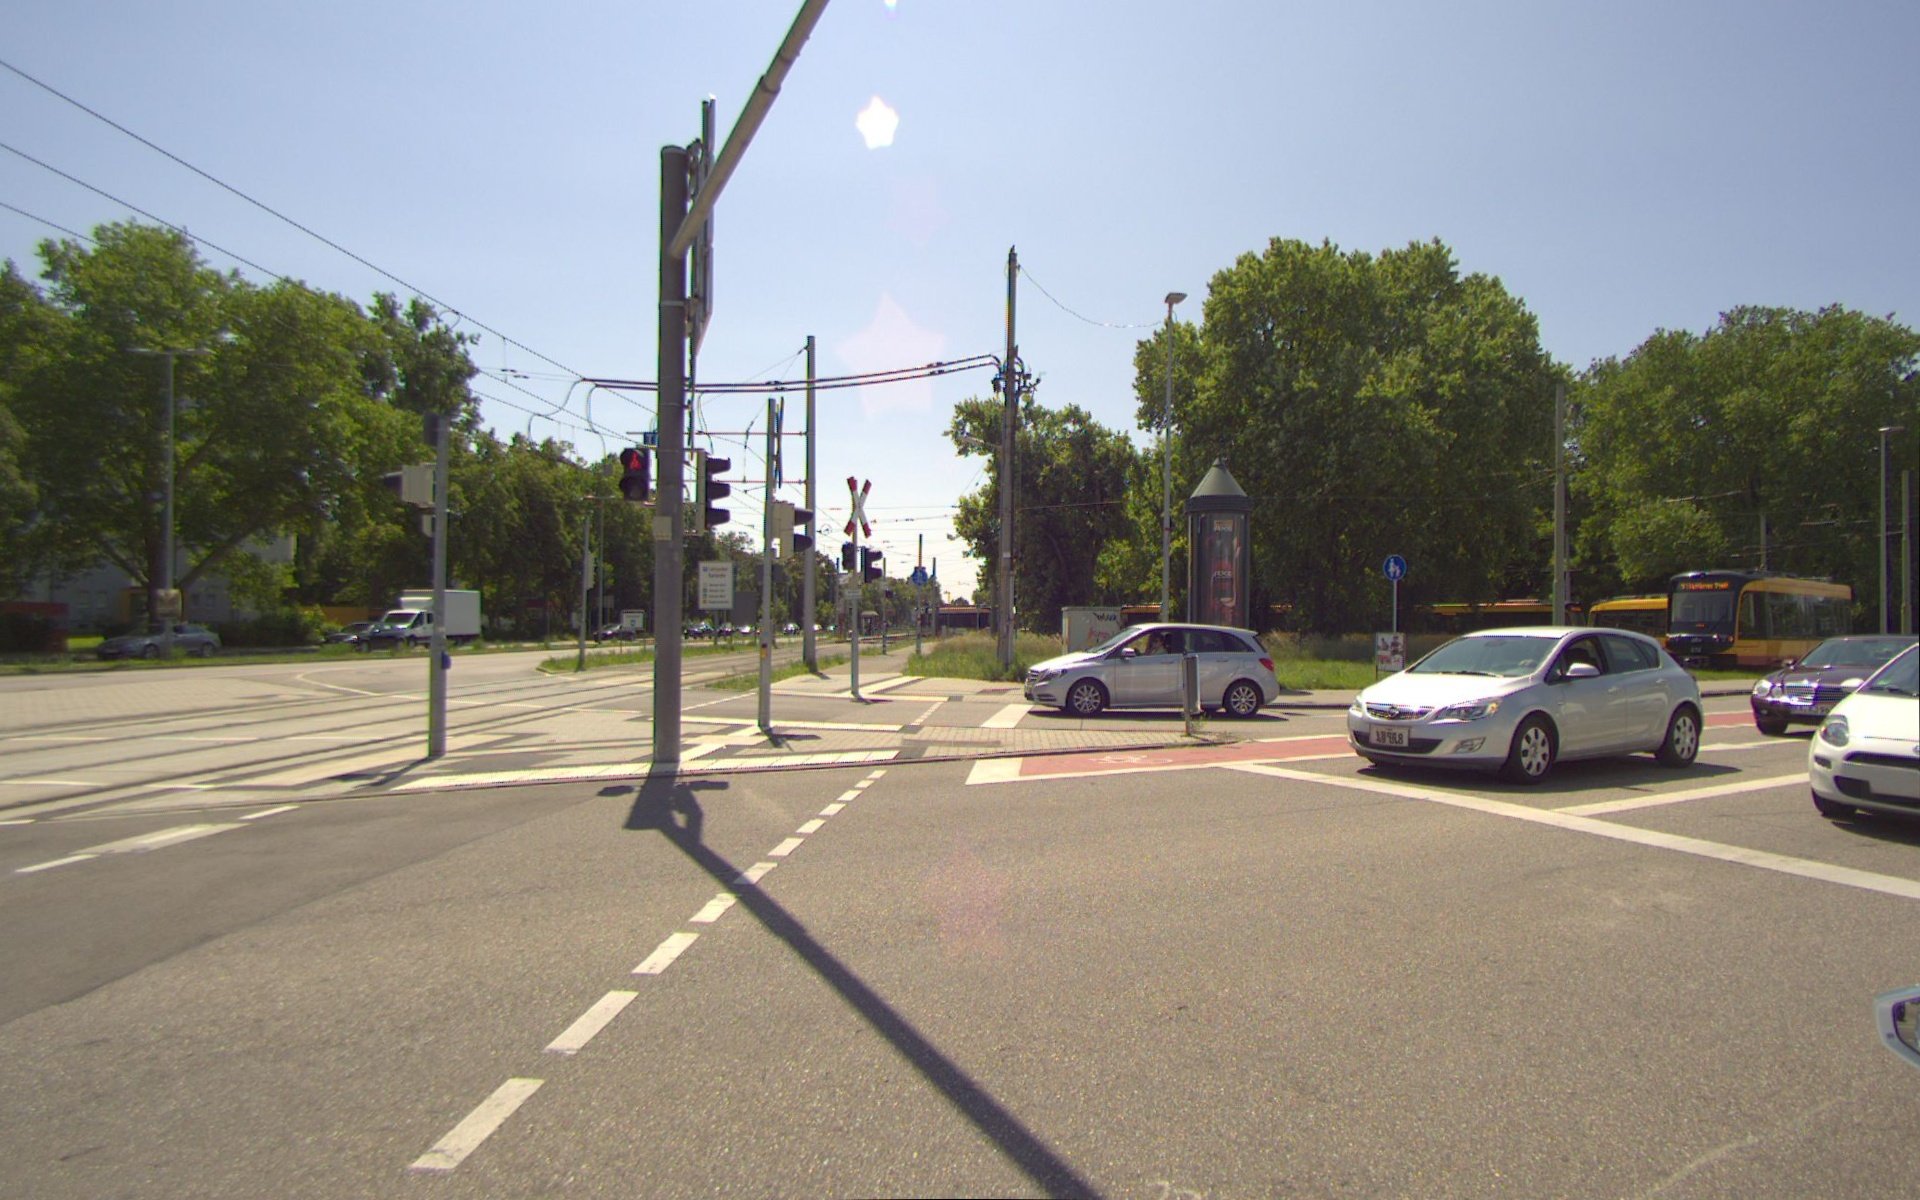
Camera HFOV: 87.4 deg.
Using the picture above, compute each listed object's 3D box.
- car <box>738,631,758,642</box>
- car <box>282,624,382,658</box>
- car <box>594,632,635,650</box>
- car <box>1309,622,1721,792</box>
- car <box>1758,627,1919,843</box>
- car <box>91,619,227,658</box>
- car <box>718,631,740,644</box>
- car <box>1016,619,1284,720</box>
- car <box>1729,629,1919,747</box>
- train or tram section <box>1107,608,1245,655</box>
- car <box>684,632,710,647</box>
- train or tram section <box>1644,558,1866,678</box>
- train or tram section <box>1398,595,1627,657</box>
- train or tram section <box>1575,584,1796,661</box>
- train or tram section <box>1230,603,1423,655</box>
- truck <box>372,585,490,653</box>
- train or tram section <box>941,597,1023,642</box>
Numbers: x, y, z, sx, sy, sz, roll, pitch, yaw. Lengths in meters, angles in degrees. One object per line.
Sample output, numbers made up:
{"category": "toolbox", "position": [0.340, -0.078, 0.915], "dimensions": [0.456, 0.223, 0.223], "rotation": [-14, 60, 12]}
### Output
{"category": "car", "position": [-25.451, 4.370, 120.644], "dimensions": [1.573, 1.303, 3.646], "rotation": [-2, -1, -1]}
{"category": "car", "position": [-26.313, 1.683, 42.244], "dimensions": [1.713, 1.303, 4.000], "rotation": [-2, -1, -1]}
{"category": "car", "position": [-27.505, 3.222, 80.109], "dimensions": [1.850, 1.303, 4.000], "rotation": [-2, -1, -1]}
{"category": "car", "position": [5.921, 1.000, 10.624], "dimensions": [4.359, 1.475, 1.784], "rotation": [1, -2, -29]}
{"category": "car", "position": [8.241, 0.978, 7.931], "dimensions": [3.915, 1.457, 1.759], "rotation": [1, 0, -31]}
{"category": "car", "position": [-31.054, 1.477, 39.107], "dimensions": [1.812, 1.444, 4.216], "rotation": [-1, -1, 2]}
{"category": "car", "position": [-25.450, 4.094, 110.632], "dimensions": [1.573, 1.303, 3.646], "rotation": [-2, -1, -1]}
{"category": "car", "position": [3.204, 1.175, 17.329], "dimensions": [4.179, 1.566, 1.745], "rotation": [2, -2, -8]}
{"category": "car", "position": [13.193, 1.180, 14.602], "dimensions": [4.236, 1.476, 1.751], "rotation": [1, -2, -31]}
{"category": "train or tram section", "position": [18.395, 2.760, 86.165], "dimensions": [11.245, 3.808, 3.019], "rotation": [-2, -3, 32]}
{"category": "car", "position": [-25.846, 3.849, 98.634], "dimensions": [1.573, 1.303, 3.646], "rotation": [-2, -1, -1]}
{"category": "train or tram section", "position": [29.493, 0.734, 36.926], "dimensions": [12.867, 3.808, 2.996], "rotation": [1, -3, -36]}
{"category": "train or tram section", "position": [37.437, 1.912, 69.149], "dimensions": [2.994, 3.808, 14.067], "rotation": [1, -3, -33]}
{"category": "train or tram section", "position": [40.283, 1.395, 56.874], "dimensions": [2.965, 3.808, 14.057], "rotation": [-1, -2, 3]}
{"category": "train or tram section", "position": [28.544, 2.409, 79.008], "dimensions": [13.974, 3.808, 3.014], "rotation": [-2, -3, 38]}
{"category": "truck", "position": [-30.516, 1.104, 58.347], "dimensions": [2.537, 3.579, 7.714], "rotation": [-2, -1, 2]}
{"category": "train or tram section", "position": [2.079, 2.166, 104.688], "dimensions": [2.987, 4.310, 12.666], "rotation": [1, -2, -26]}
